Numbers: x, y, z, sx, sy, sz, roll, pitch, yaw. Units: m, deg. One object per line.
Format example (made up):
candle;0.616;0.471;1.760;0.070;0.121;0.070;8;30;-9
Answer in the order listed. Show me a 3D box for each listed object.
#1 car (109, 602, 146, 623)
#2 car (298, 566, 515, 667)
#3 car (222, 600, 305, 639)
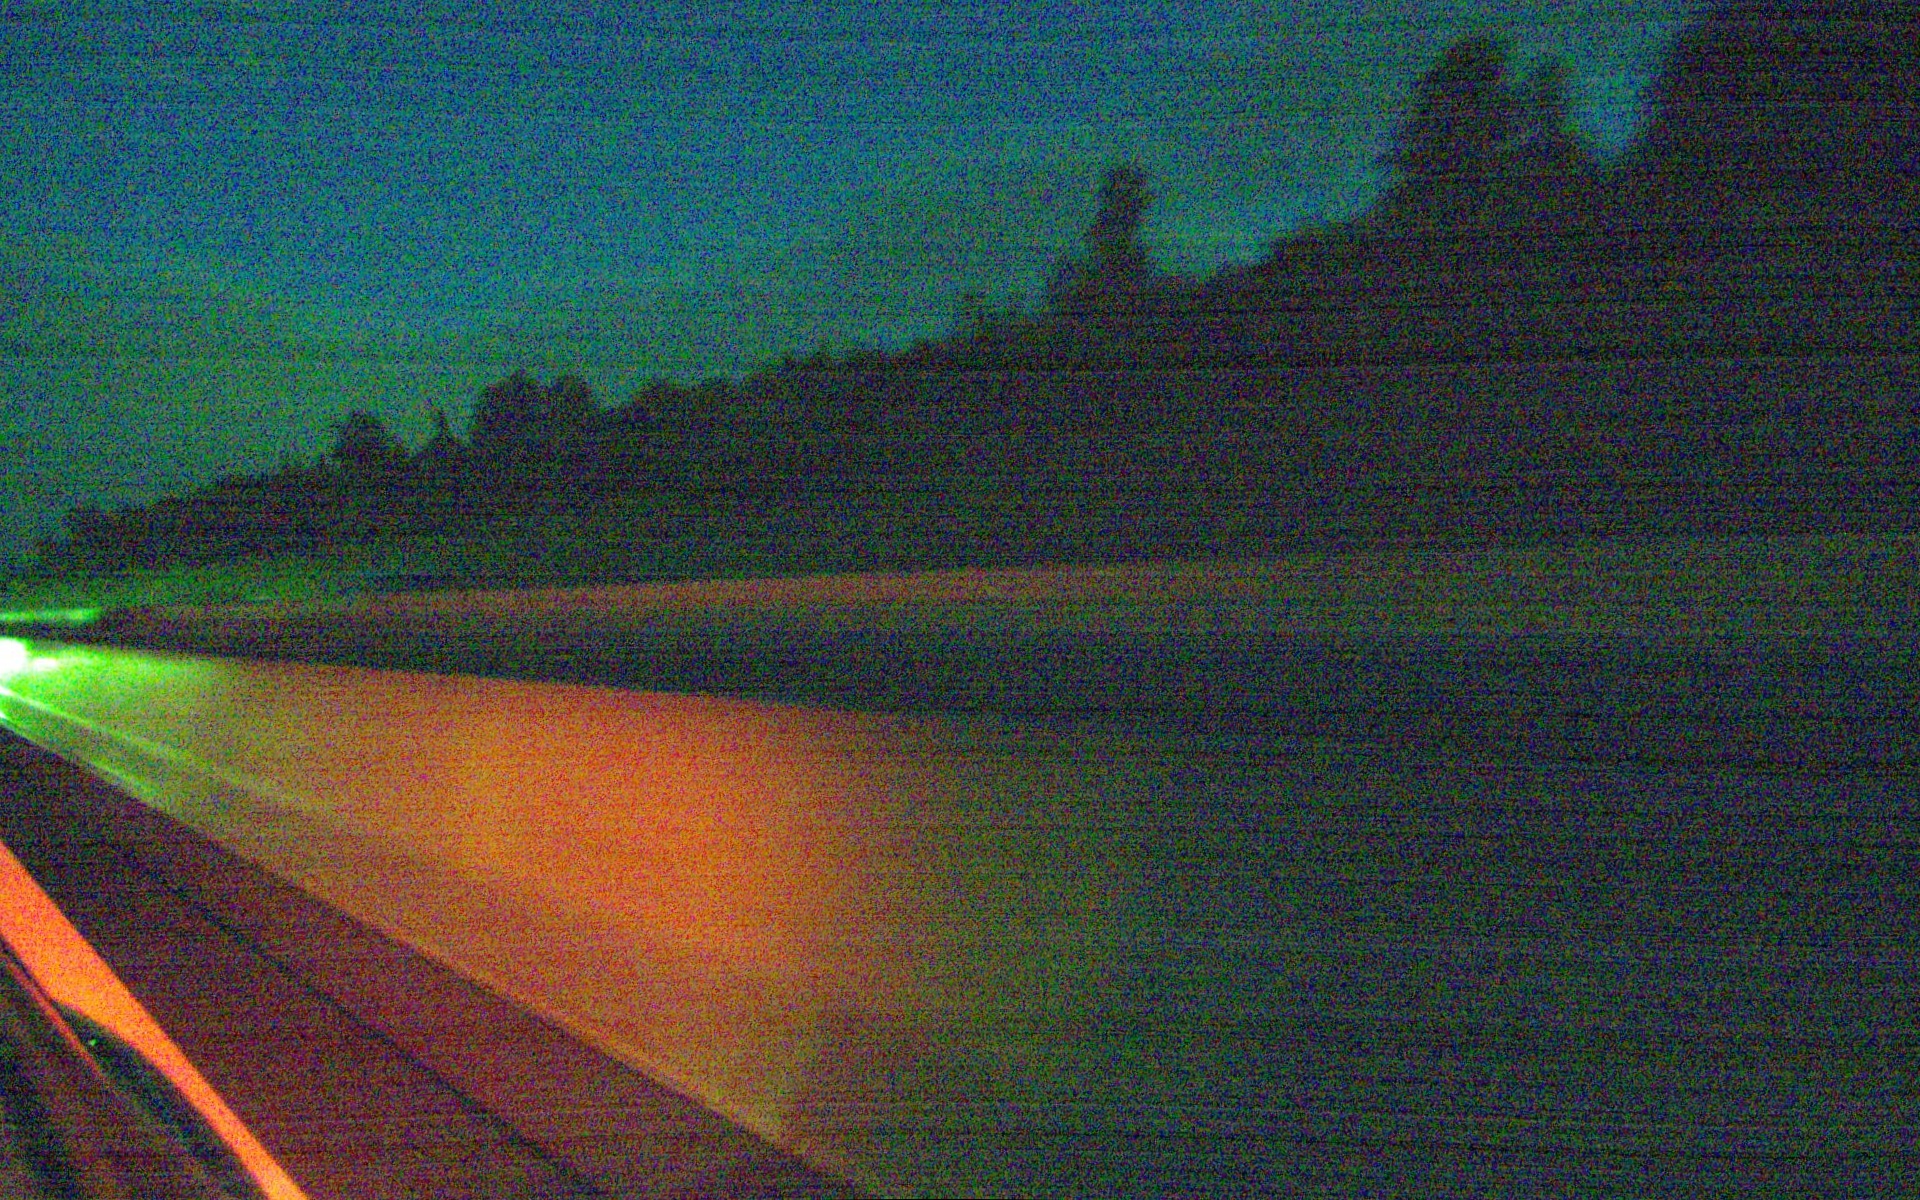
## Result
car;-77.356;1.163;94.019;3.996;1.940;1.974;-1;-1;39
car;-10.725;0.338;19.477;4.744;1.648;1.973;-2;2;40
car;-33.513;0.951;48.630;4.744;1.648;1.973;-2;2;40
